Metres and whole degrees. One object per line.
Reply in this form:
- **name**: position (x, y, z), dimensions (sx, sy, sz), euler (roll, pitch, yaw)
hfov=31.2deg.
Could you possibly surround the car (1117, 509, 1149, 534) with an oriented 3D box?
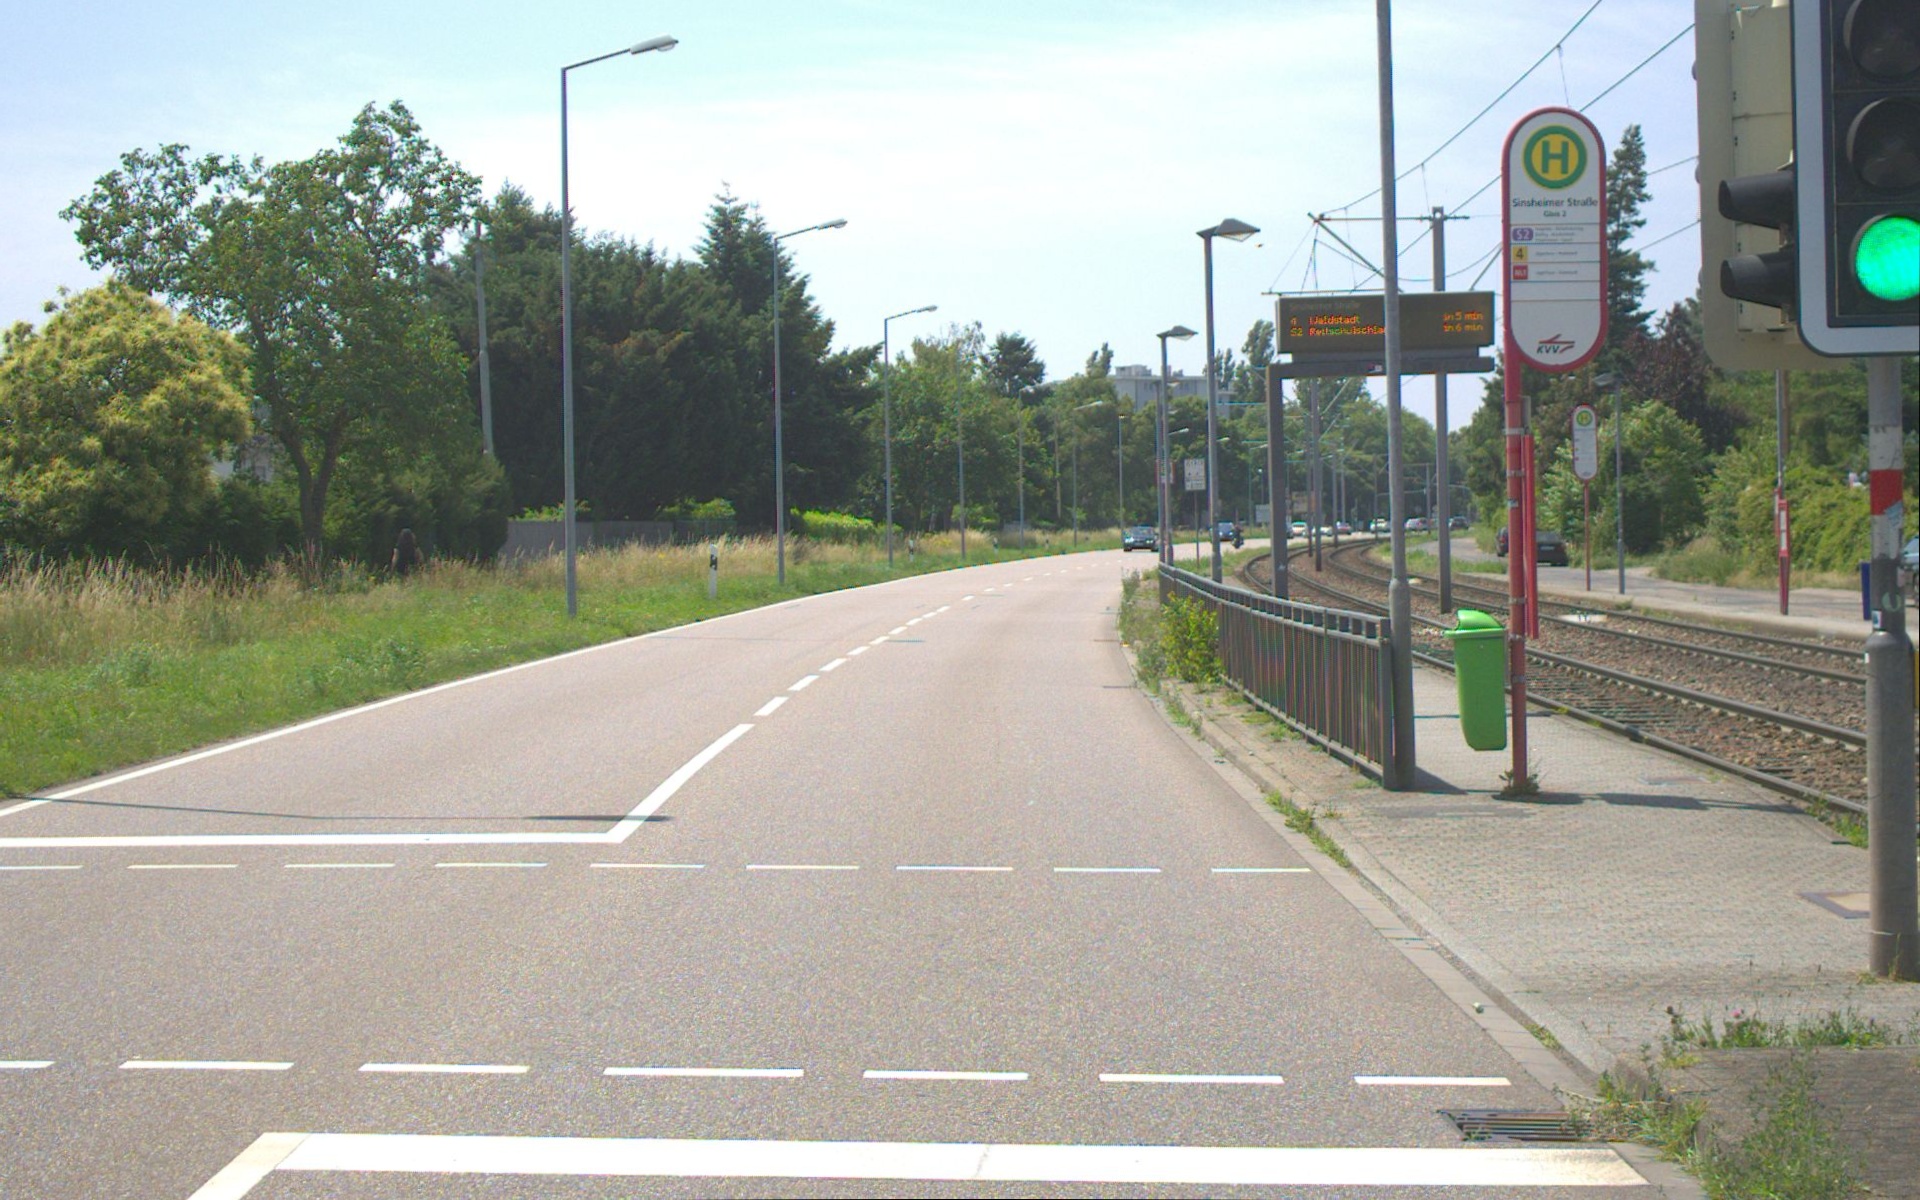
- **car**: position (10.084, -4.562, 200.103), dimensions (1.706, 1.399, 4.707), euler (0, 1, 5)

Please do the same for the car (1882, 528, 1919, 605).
- **car**: position (18.617, -0.625, 64.372), dimensions (1.620, 1.417, 4.873), euler (0, 1, 3)

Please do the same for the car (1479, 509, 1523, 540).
- **car**: position (26.294, -3.665, 167.065), dimensions (1.914, 1.465, 3.999), euler (0, 1, 6)

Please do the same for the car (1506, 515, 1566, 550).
- **car**: position (22.457, -2.638, 134.128), dimensions (1.861, 1.325, 4.515), euler (0, 1, 4)
